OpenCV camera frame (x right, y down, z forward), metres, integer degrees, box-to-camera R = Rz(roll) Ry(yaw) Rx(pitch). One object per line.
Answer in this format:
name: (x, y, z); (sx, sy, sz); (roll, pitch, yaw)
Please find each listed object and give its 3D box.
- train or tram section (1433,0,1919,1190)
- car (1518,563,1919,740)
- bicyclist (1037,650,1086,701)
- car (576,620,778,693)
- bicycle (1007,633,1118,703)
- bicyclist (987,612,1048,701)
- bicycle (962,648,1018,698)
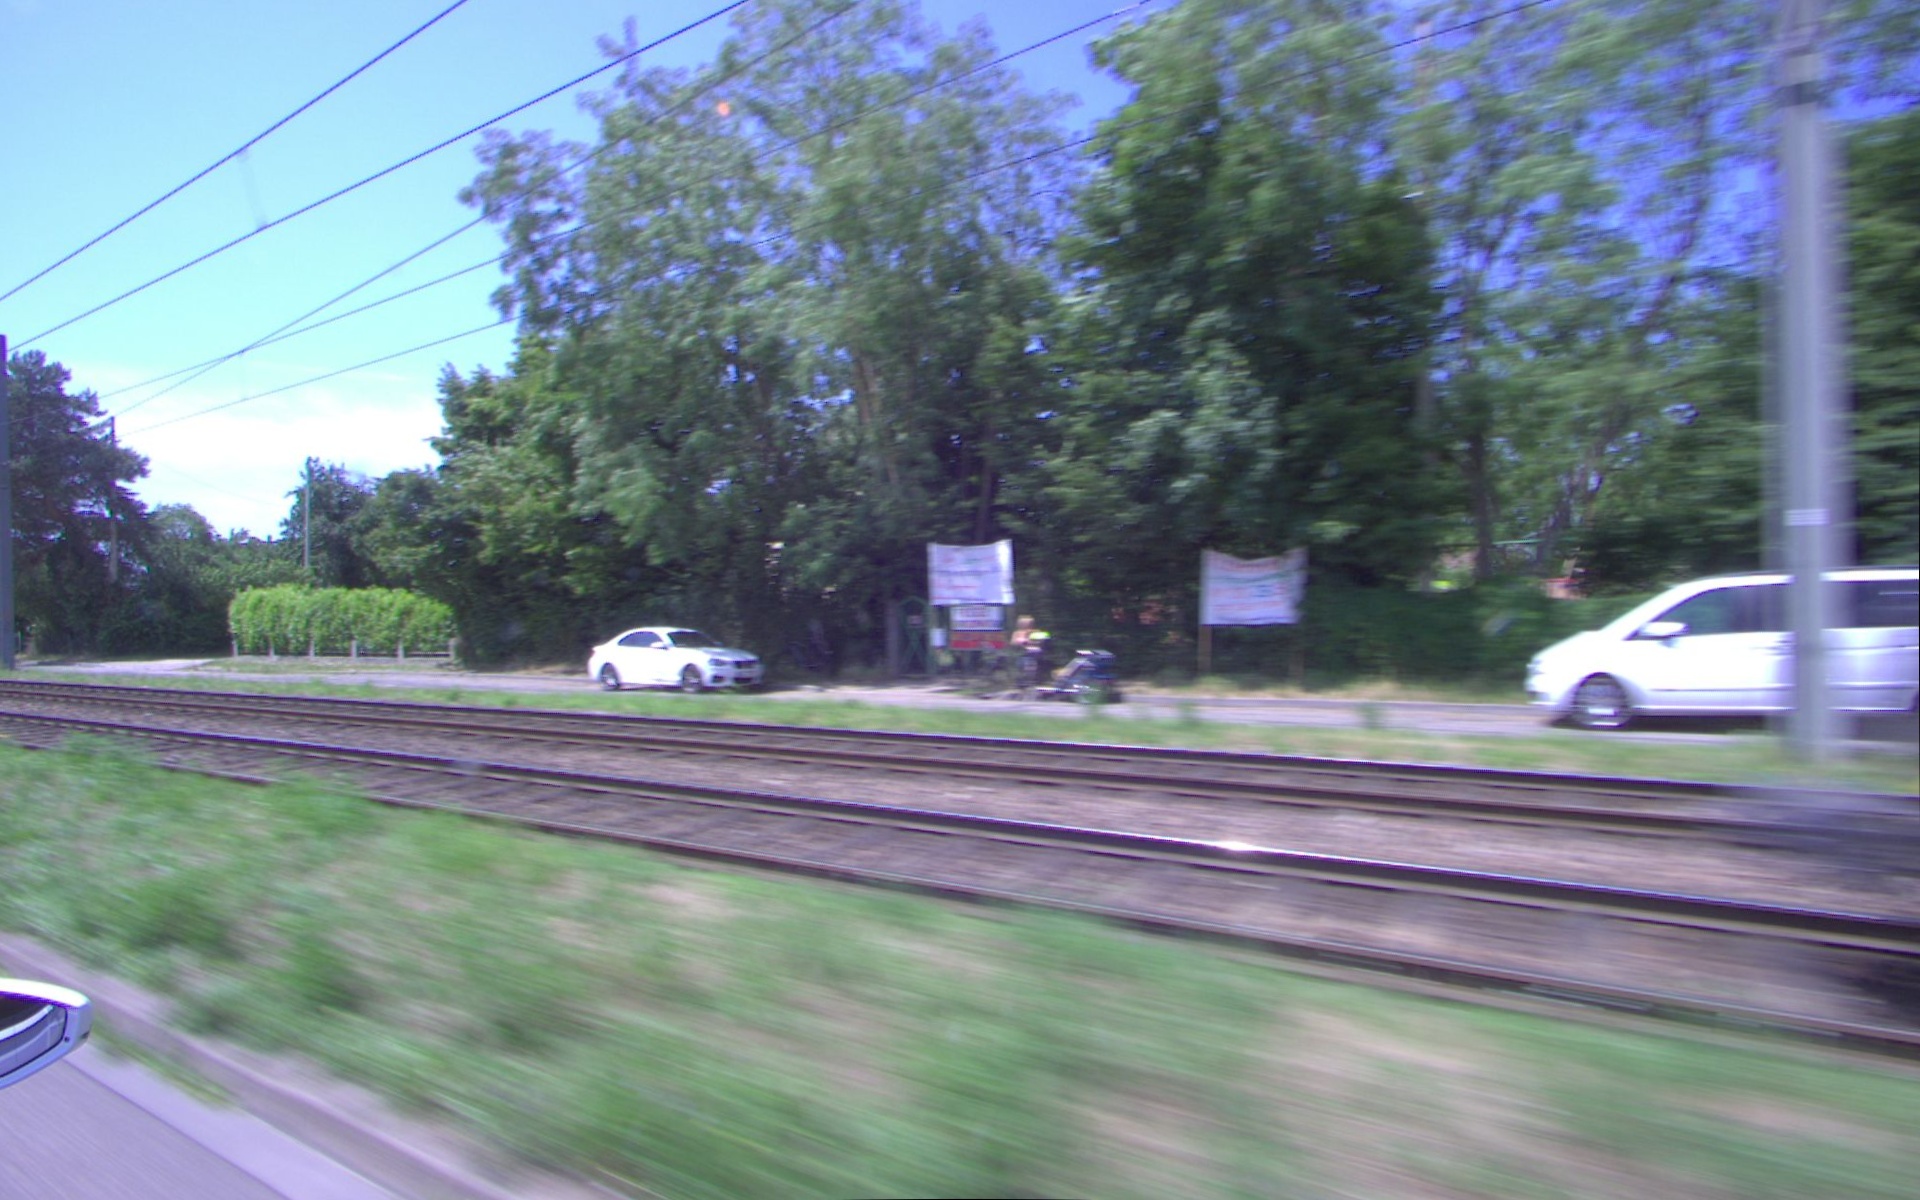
train or tram section: (6.965, -0.433, 1.498); (11.029, 3.737, 2.759); (-2, 0, 32)
car: (9.753, 0.592, 12.309); (4.944, 1.900, 1.989); (-2, -1, 32)
bicyclist: (1.863, 1.373, 18.357); (0.751, 0.887, 0.522); (-2, 0, 27)
car: (-6.449, 1.257, 22.627); (4.565, 1.468, 1.793); (-2, -1, 32)
bicycle: (1.846, 1.204, 17.995); (1.635, 1.161, 1.143); (-2, 0, 32)
bicyclist: (1.070, 1.040, 18.608); (0.912, 1.609, 0.608); (-2, 0, 27)
bicycle: (0.577, 1.382, 19.032); (0.787, 0.887, 0.747); (-2, 0, 32)
